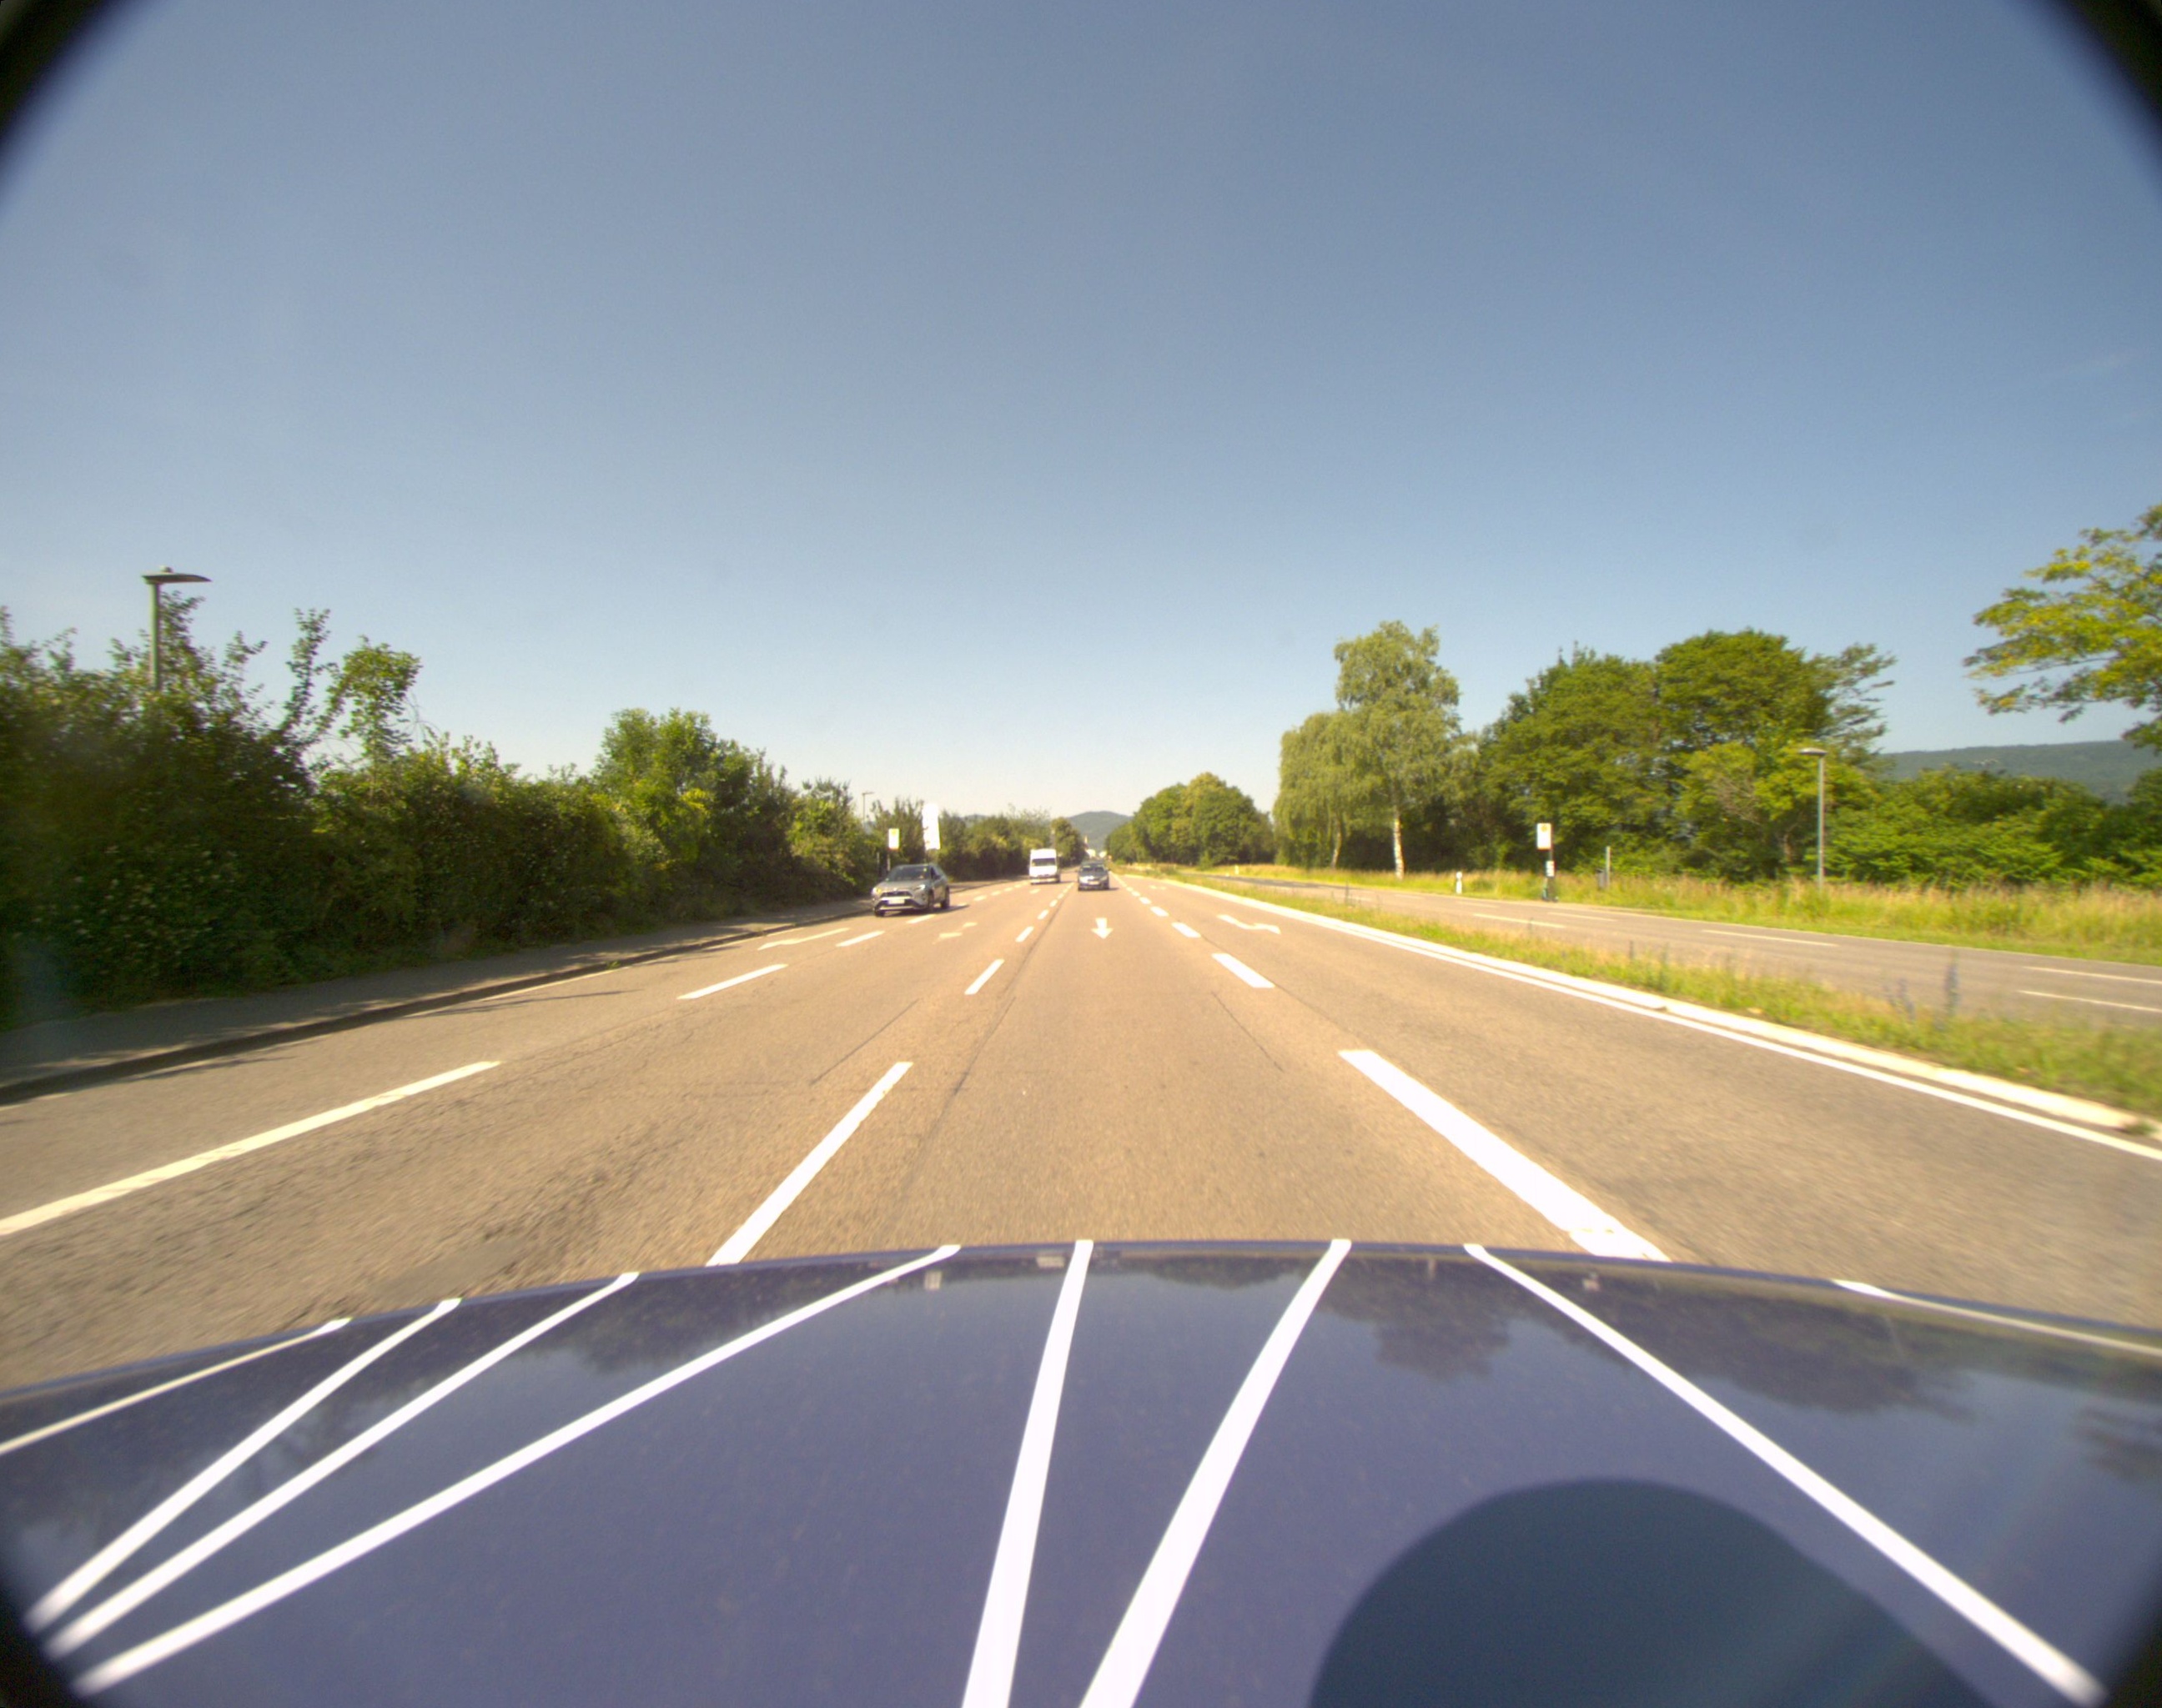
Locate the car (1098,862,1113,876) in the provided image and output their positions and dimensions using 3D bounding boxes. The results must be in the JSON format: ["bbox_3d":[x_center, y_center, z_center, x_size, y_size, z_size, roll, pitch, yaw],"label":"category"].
[{"bbox_3d":[2.813,1.707,87.207,1.678,1.435,3.622,-1,0,1],"label":"car"}]

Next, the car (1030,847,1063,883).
[{"bbox_3d":[-2.433,0.780,54.653,1.998,2.432,5.089,-1,0,1],"label":"car"}]

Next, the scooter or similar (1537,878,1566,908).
[{"bbox_3d":[19.791,1.621,31.954,0.369,1.179,1.341,2,0,1],"label":"scooter or similar"}]

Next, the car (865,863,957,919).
[{"bbox_3d":[-5.705,1.183,26.173,1.906,1.670,4.684,-2,0,2],"label":"car"}]

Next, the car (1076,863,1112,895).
[{"bbox_3d":[0.655,1.204,38.321,1.678,1.435,4.361,-1,0,1],"label":"car"}]
